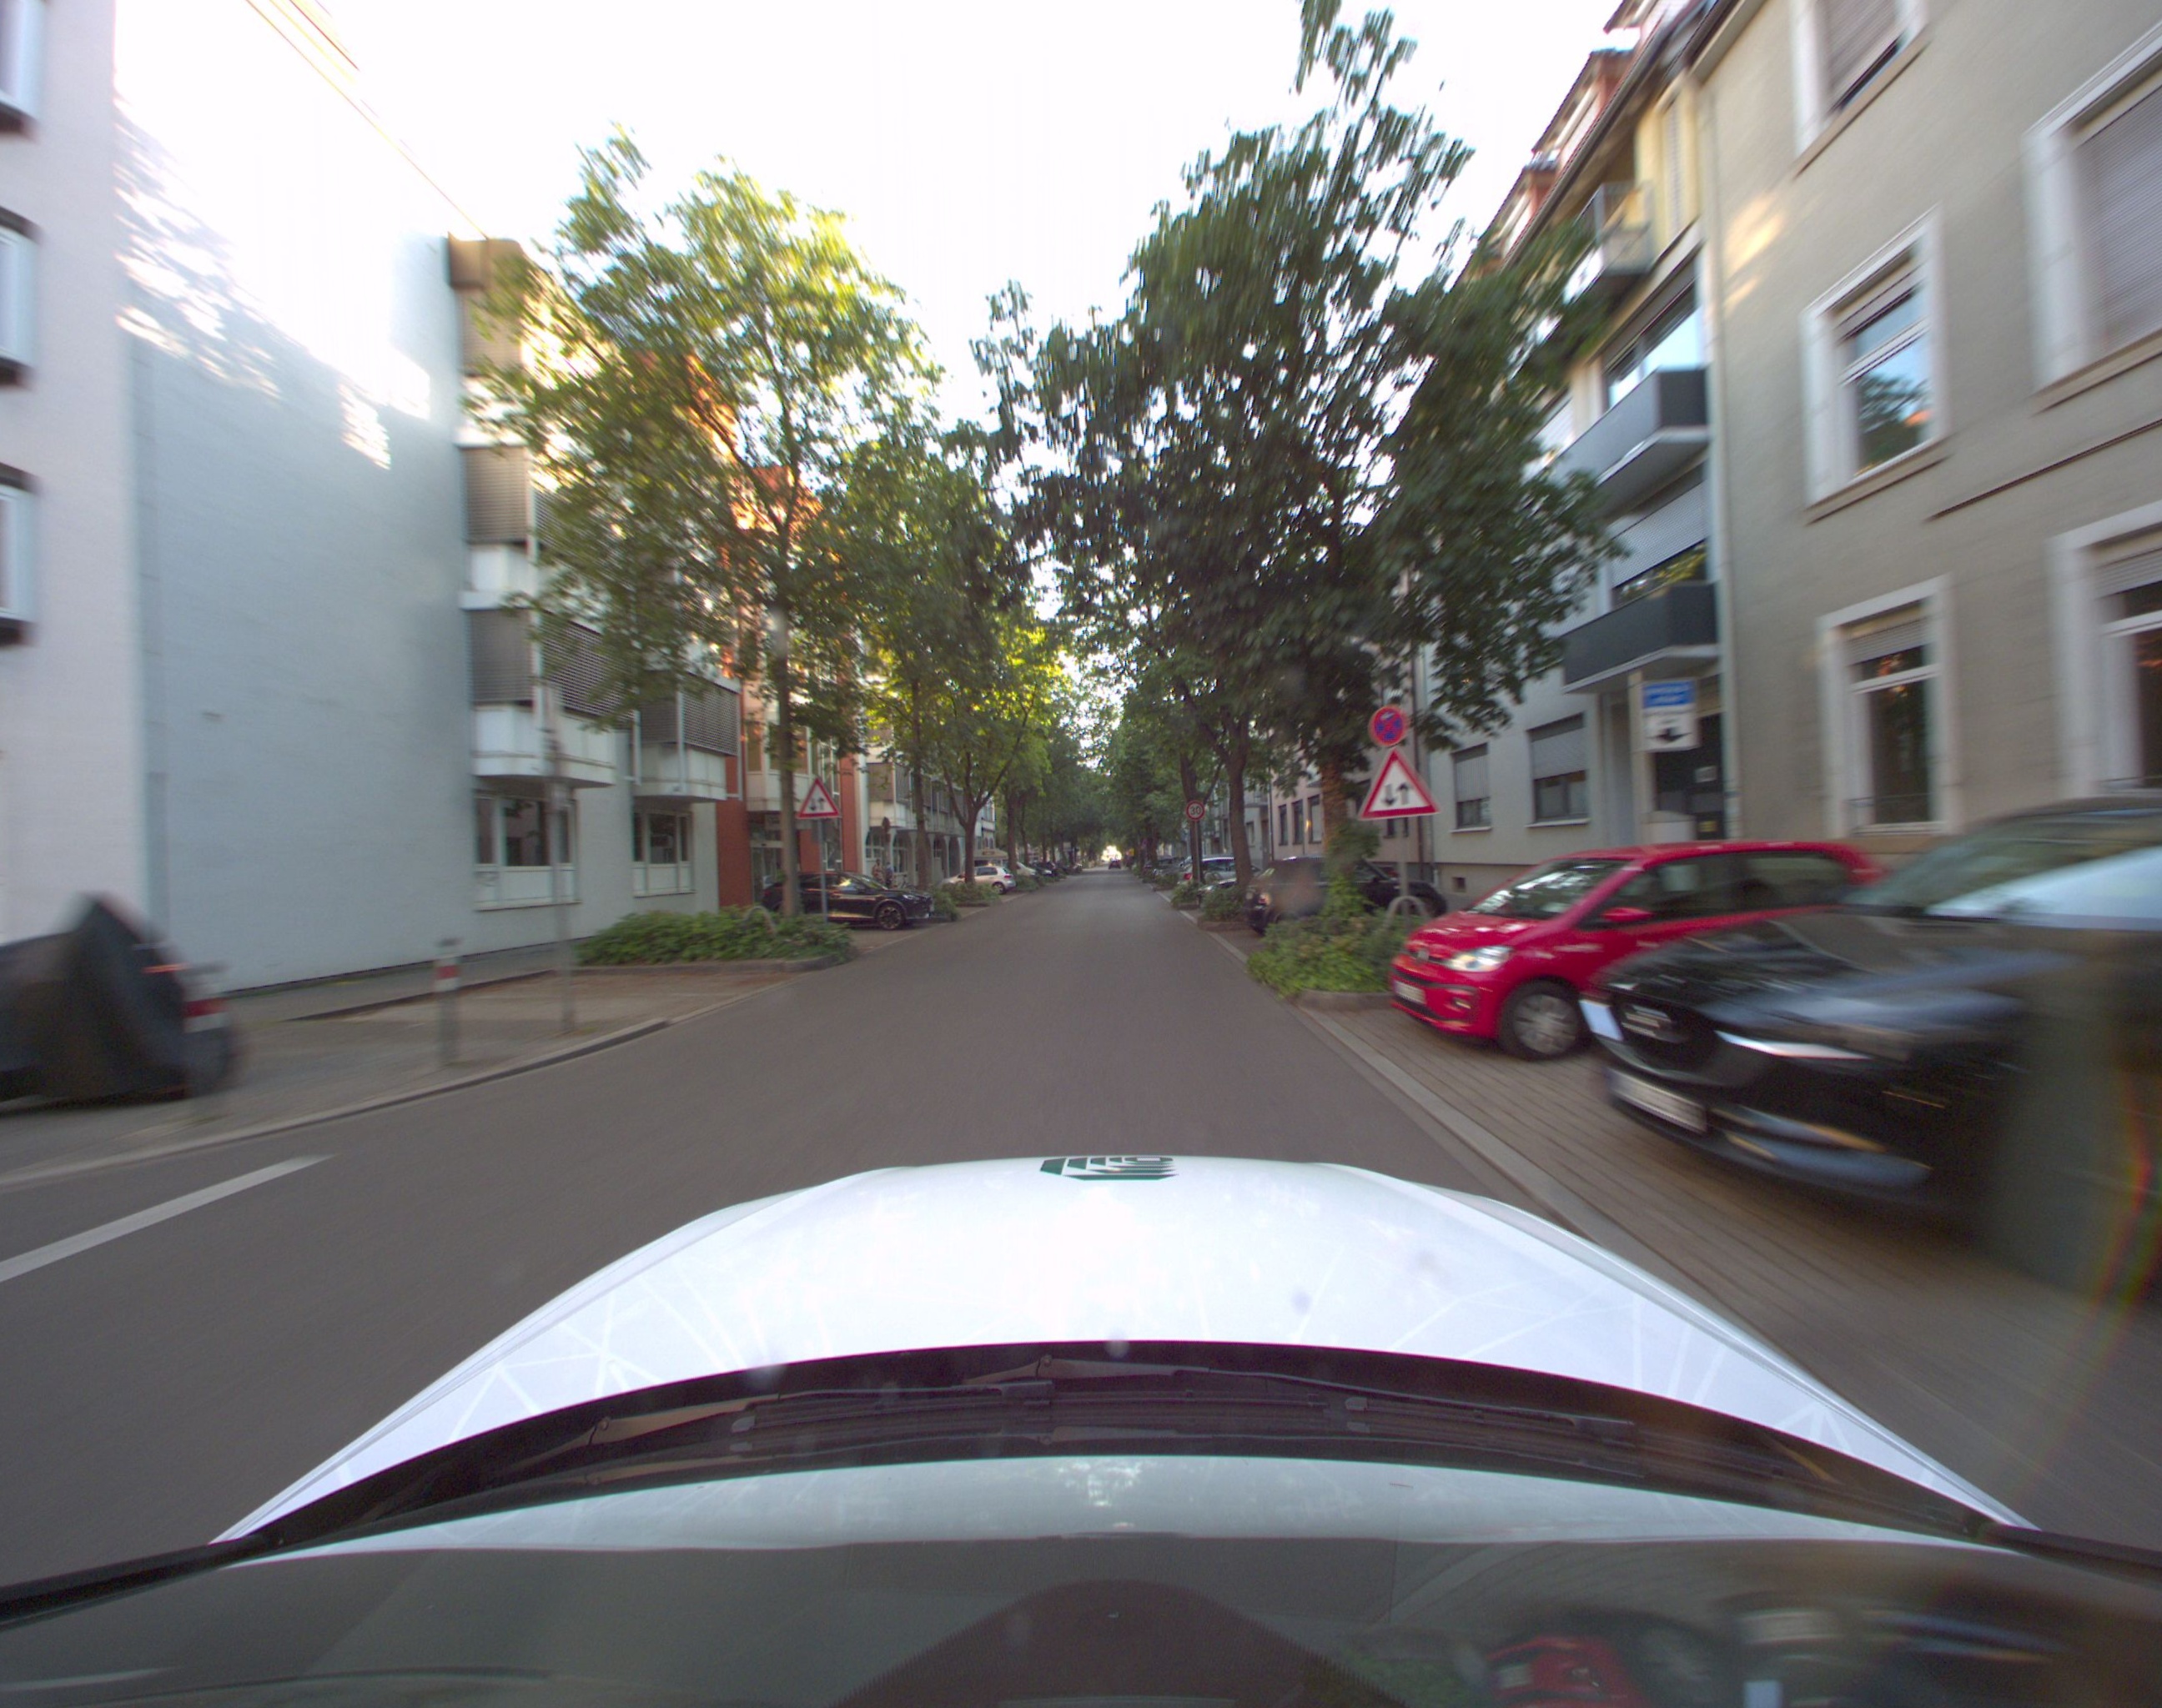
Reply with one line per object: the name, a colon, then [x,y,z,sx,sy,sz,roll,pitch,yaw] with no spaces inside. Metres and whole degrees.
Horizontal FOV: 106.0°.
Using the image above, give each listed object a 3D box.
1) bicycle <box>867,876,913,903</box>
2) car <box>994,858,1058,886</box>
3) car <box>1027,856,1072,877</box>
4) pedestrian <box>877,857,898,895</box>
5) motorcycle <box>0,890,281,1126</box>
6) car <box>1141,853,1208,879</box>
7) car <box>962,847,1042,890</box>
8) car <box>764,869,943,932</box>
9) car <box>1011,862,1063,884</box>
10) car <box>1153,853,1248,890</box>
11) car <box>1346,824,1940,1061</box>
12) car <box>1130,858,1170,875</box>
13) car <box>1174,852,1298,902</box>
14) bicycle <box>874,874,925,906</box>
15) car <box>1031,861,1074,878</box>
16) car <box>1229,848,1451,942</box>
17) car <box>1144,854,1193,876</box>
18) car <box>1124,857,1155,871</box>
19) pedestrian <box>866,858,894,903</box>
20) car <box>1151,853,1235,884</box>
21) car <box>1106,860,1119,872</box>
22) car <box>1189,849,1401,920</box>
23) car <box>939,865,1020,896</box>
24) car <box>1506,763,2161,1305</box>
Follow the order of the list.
bicycle: [-7.421,1.378,31.568,1.778,1.029,0.503,-1,-1,24]
car: [-4.264,1.403,63.194,4.664,1.854,1.964,-4,-1,2]
car: [-3.458,1.420,90.069,4.744,1.984,1.964,-4,-1,2]
pedestrian: [-8.912,0.992,37.548,0.700,1.728,0.905,-2,-1,2]
motorcycle: [-7.344,1.057,5.758,2.213,1.481,0.854,-2,1,-17]
car: [6.576,0.862,57.311,4.486,1.521,1.998,-4,-1,5]
car: [-4.866,0.896,50.752,4.664,2.478,2.001,-2,-1,2]
car: [-5.918,1.193,21.553,4.112,1.486,1.930,-1,0,1]
car: [-3.804,1.655,70.908,4.187,1.635,1.964,-4,-1,2]
car: [6.083,0.898,41.919,4.697,1.710,1.952,-2,0,3]
car: [4.221,0.613,6.612,3.472,1.452,1.899,-3,0,0]
car: [7.683,1.380,90.436,4.252,1.565,1.964,-4,-1,2]
car: [5.265,0.777,28.058,3.865,1.439,1.847,-3,0,-1]
bicycle: [-6.782,1.329,30.391,1.801,1.107,0.496,-1,-1,-22]
car: [-3.225,1.769,94.382,4.744,1.630,1.964,-4,-1,2]
car: [4.700,0.711,15.175,3.472,1.452,1.899,-3,0,0]
car: [7.502,0.941,70.406,4.035,1.597,1.826,-4,-1,2]
car: [8.126,1.406,113.434,4.252,1.565,1.964,-4,-1,2]
pedestrian: [-7.984,1.058,32.367,0.696,1.757,0.744,-2,-1,26]
car: [6.604,0.866,48.389,4.664,1.521,1.964,-4,-1,2]
car: [4.795,1.793,123.354,1.949,1.565,4.285,-4,-1,3]
car: [5.156,0.722,20.178,4.693,1.421,2.036,-3,0,2]
car: [-5.235,1.357,42.408,3.853,1.486,1.759,-1,0,3]
car: [4.505,0.493,3.407,4.407,1.656,1.901,-3,0,3]
